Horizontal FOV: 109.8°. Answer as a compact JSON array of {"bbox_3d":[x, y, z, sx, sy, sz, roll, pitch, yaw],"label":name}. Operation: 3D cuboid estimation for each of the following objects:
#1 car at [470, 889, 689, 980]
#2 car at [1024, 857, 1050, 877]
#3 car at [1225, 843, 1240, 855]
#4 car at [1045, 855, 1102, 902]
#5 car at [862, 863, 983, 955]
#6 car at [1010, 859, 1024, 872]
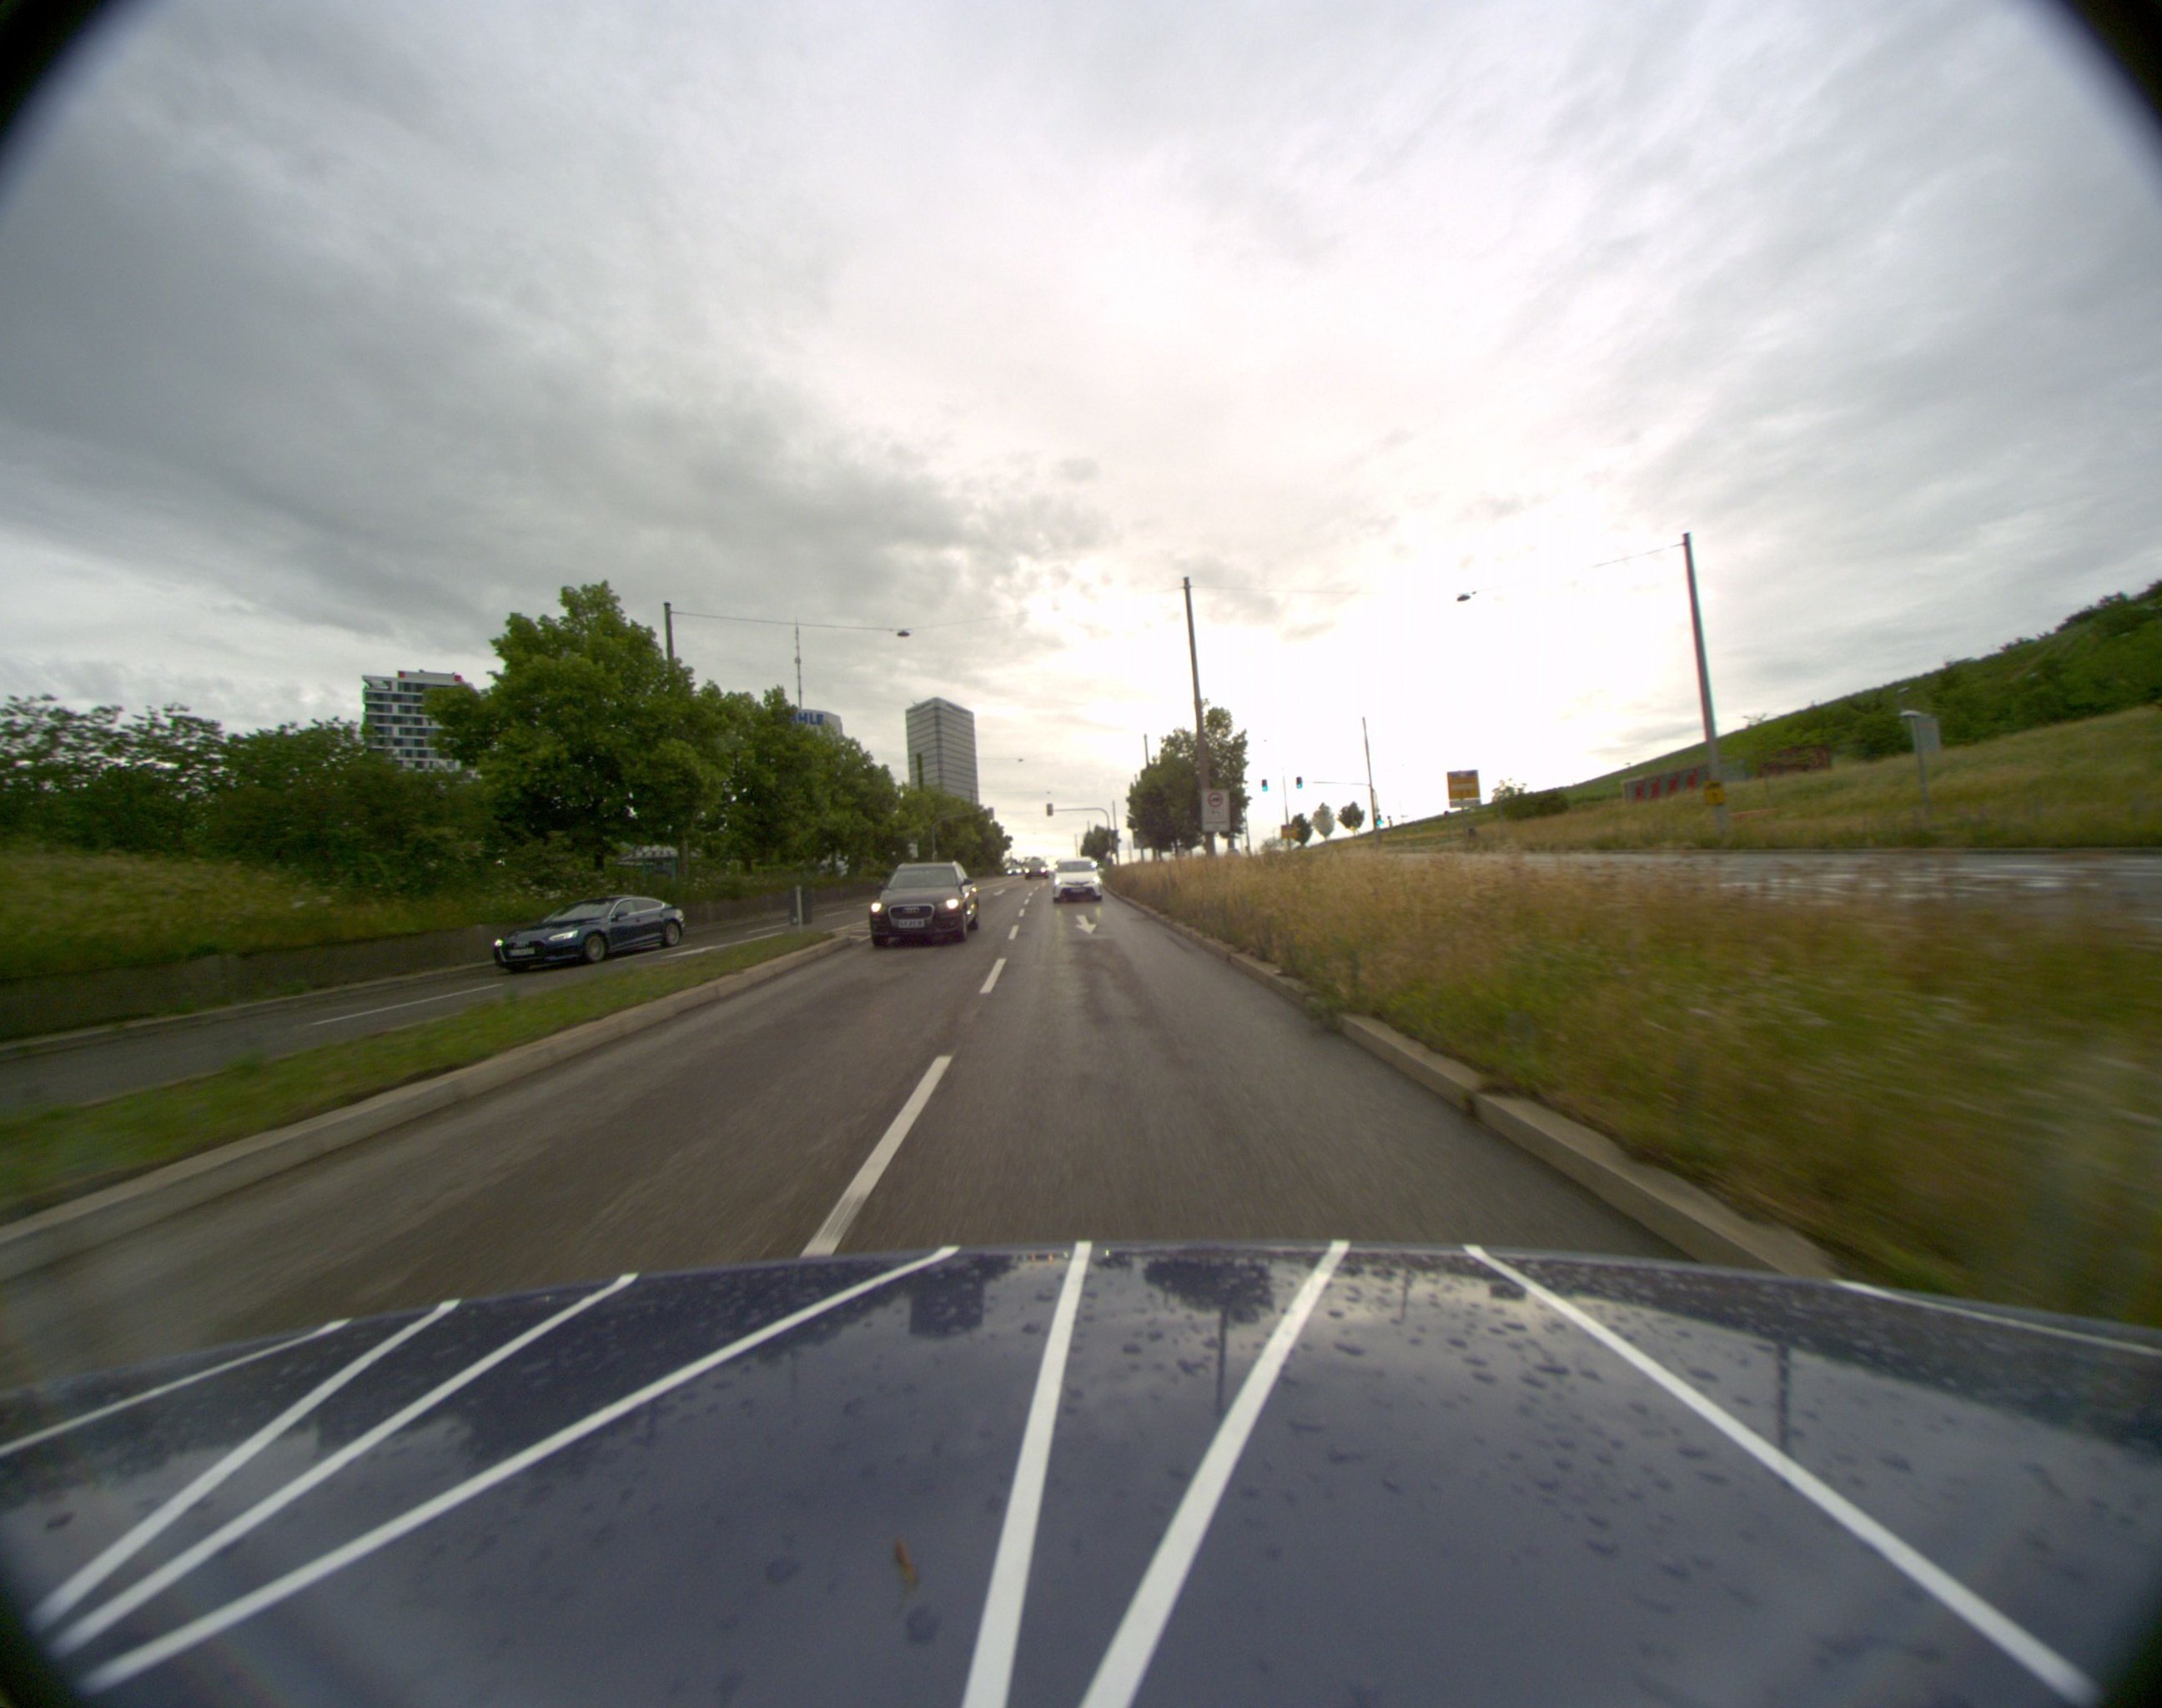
[{"bbox_3d":[-10.939,1.679,17.045,1.876,1.417,4.348,-4,1,1],"label":"car"},{"bbox_3d":[-3.477,1.048,60.664,1.730,1.463,4.265,-3,-1,0],"label":"car"},{"bbox_3d":[19.776,-0.670,98.974,1.541,1.381,3.929,-4,0,7],"label":"car"},{"bbox_3d":[-0.192,0.857,28.337,1.826,1.574,4.298,-1,0,3],"label":"car"},{"bbox_3d":[-3.169,1.028,16.031,1.730,1.525,4.125,-4,0,-2],"label":"car"},{"bbox_3d":[-8.772,1.628,103.323,1.636,1.466,3.676,-4,-3,-8],"label":"car"}]
